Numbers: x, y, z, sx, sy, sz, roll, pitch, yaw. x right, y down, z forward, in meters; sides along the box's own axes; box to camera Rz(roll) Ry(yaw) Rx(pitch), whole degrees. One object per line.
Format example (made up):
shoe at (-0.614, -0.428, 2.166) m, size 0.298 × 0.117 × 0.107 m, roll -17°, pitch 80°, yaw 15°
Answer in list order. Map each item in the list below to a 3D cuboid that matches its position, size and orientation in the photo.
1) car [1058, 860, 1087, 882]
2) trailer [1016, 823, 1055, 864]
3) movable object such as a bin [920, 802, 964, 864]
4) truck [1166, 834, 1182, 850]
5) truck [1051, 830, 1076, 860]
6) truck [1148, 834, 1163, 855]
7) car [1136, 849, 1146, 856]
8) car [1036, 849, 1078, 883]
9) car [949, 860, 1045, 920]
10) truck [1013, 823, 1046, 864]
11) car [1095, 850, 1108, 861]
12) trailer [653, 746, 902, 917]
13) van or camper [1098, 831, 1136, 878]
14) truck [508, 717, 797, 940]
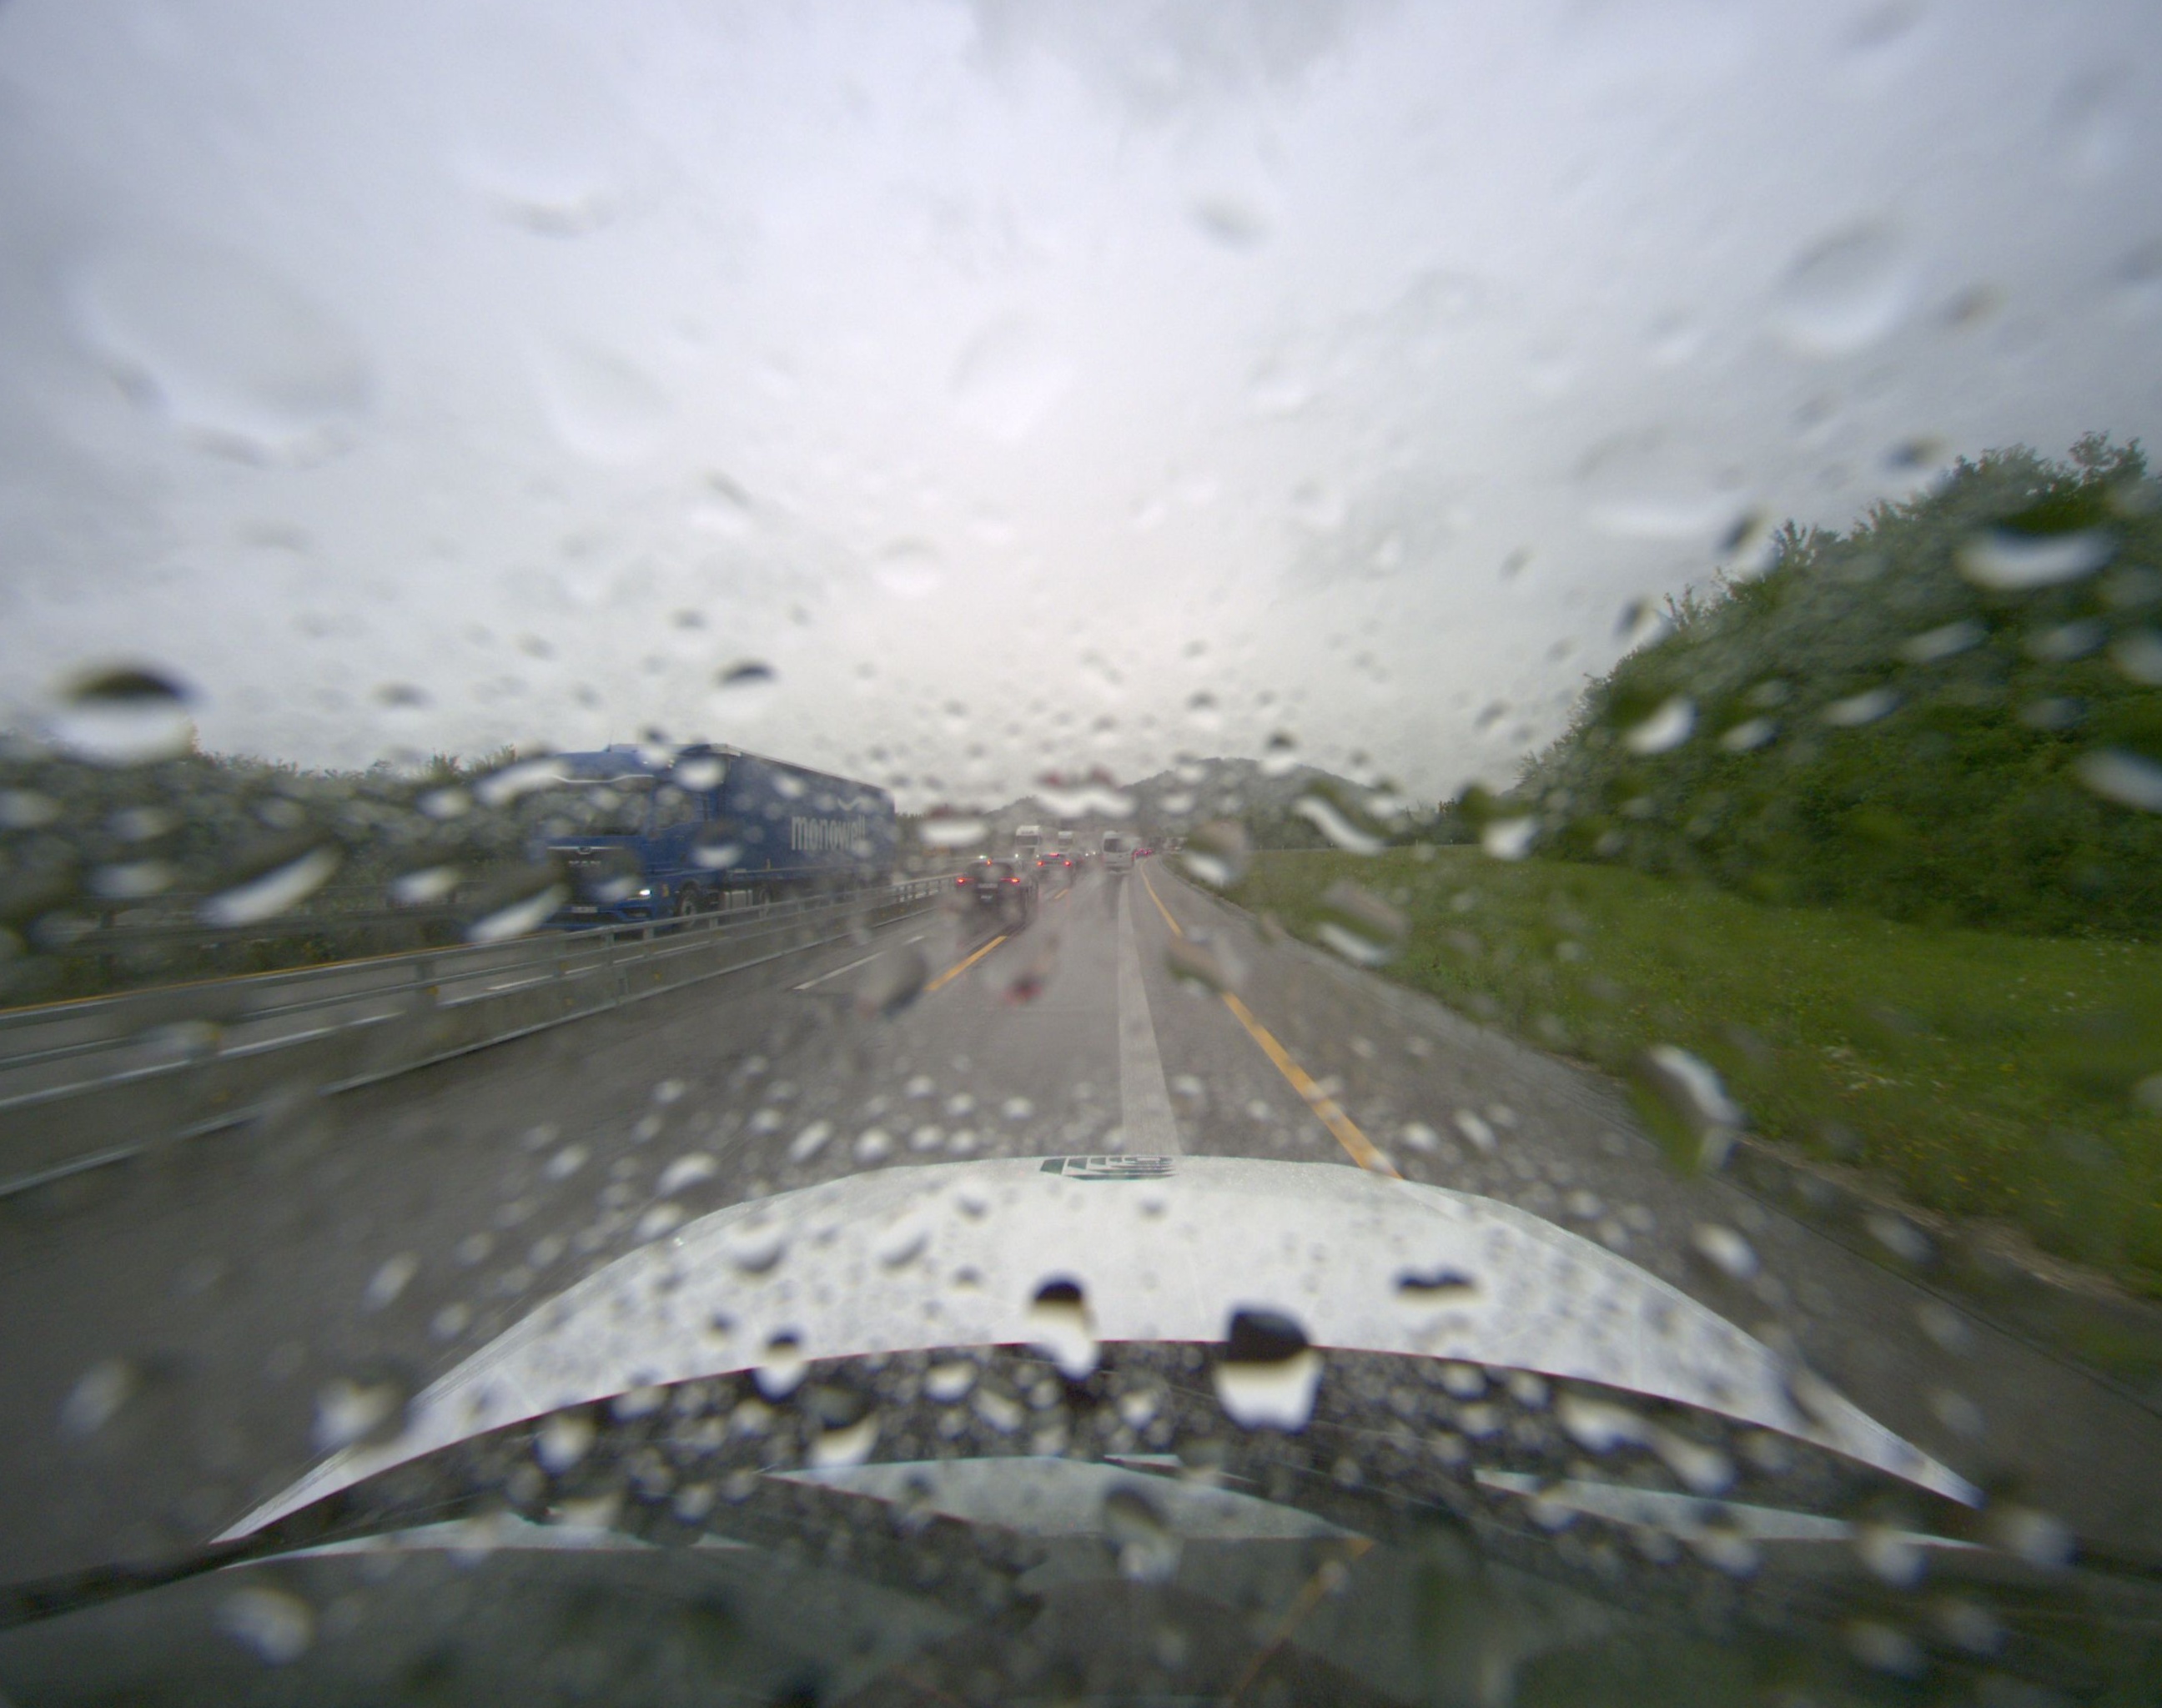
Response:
car at (-0.592, 1.184, 57.938) m, size 1.845 × 1.500 × 4.002 m, roll -1°, pitch 0°, yaw 2°
trailer at (-4.769, -1.165, 88.577) m, size 2.483 × 4.049 × 12.603 m, roll -2°, pitch 1°, yaw 4°
movable object such as a bin at (-18.787, -2.724, 110.803) m, size 3.577 × 8.143 × 8.324 m, roll 0°, pitch 0°, yaw 7°
truck at (28.567, -3.679, 250.070) m, size 3.903 × 4.784 × 9.939 m, roll -1°, pitch 1°, yaw 11°
truck at (-2.411, -1.289, 113.735) m, size 2.871 × 4.101 × 6.934 m, roll -1°, pitch 1°, yaw 4°
truck at (17.432, -2.098, 190.119) m, size 3.303 × 4.784 × 9.926 m, roll 0°, pitch 0°, yaw 7°
car at (9.389, -0.205, 127.553) m, size 1.380 × 1.078 × 3.122 m, roll -1°, pitch 0°, yaw 0°
car at (-1.175, 0.579, 42.016) m, size 1.860 × 1.659 × 3.990 m, roll -1°, pitch 0°, yaw 2°
car at (-2.174, 0.898, 22.461) m, size 1.931 × 1.427 × 4.763 m, roll 0°, pitch 0°, yaw 3°
truck at (-5.171, -1.093, 83.272) m, size 2.472 × 4.030 × 6.456 m, roll -1°, pitch 1°, yaw 4°
car at (2.195, 0.164, 88.129) m, size 1.257 × 1.078 × 3.257 m, roll -1°, pitch 0°, yaw 3°
trailer at (-8.682, -0.540, 25.792) m, size 2.589 × 4.077 × 12.441 m, roll -1°, pitch 0°, yaw 3°
van or camper at (2.142, 0.032, 49.593) m, size 2.132 × 2.721 × 4.648 m, roll -1°, pitch 0°, yaw 0°
truck at (-9.096, -0.497, 18.390) m, size 2.612 × 4.081 × 6.675 m, roll -1°, pitch 0°, yaw 3°
